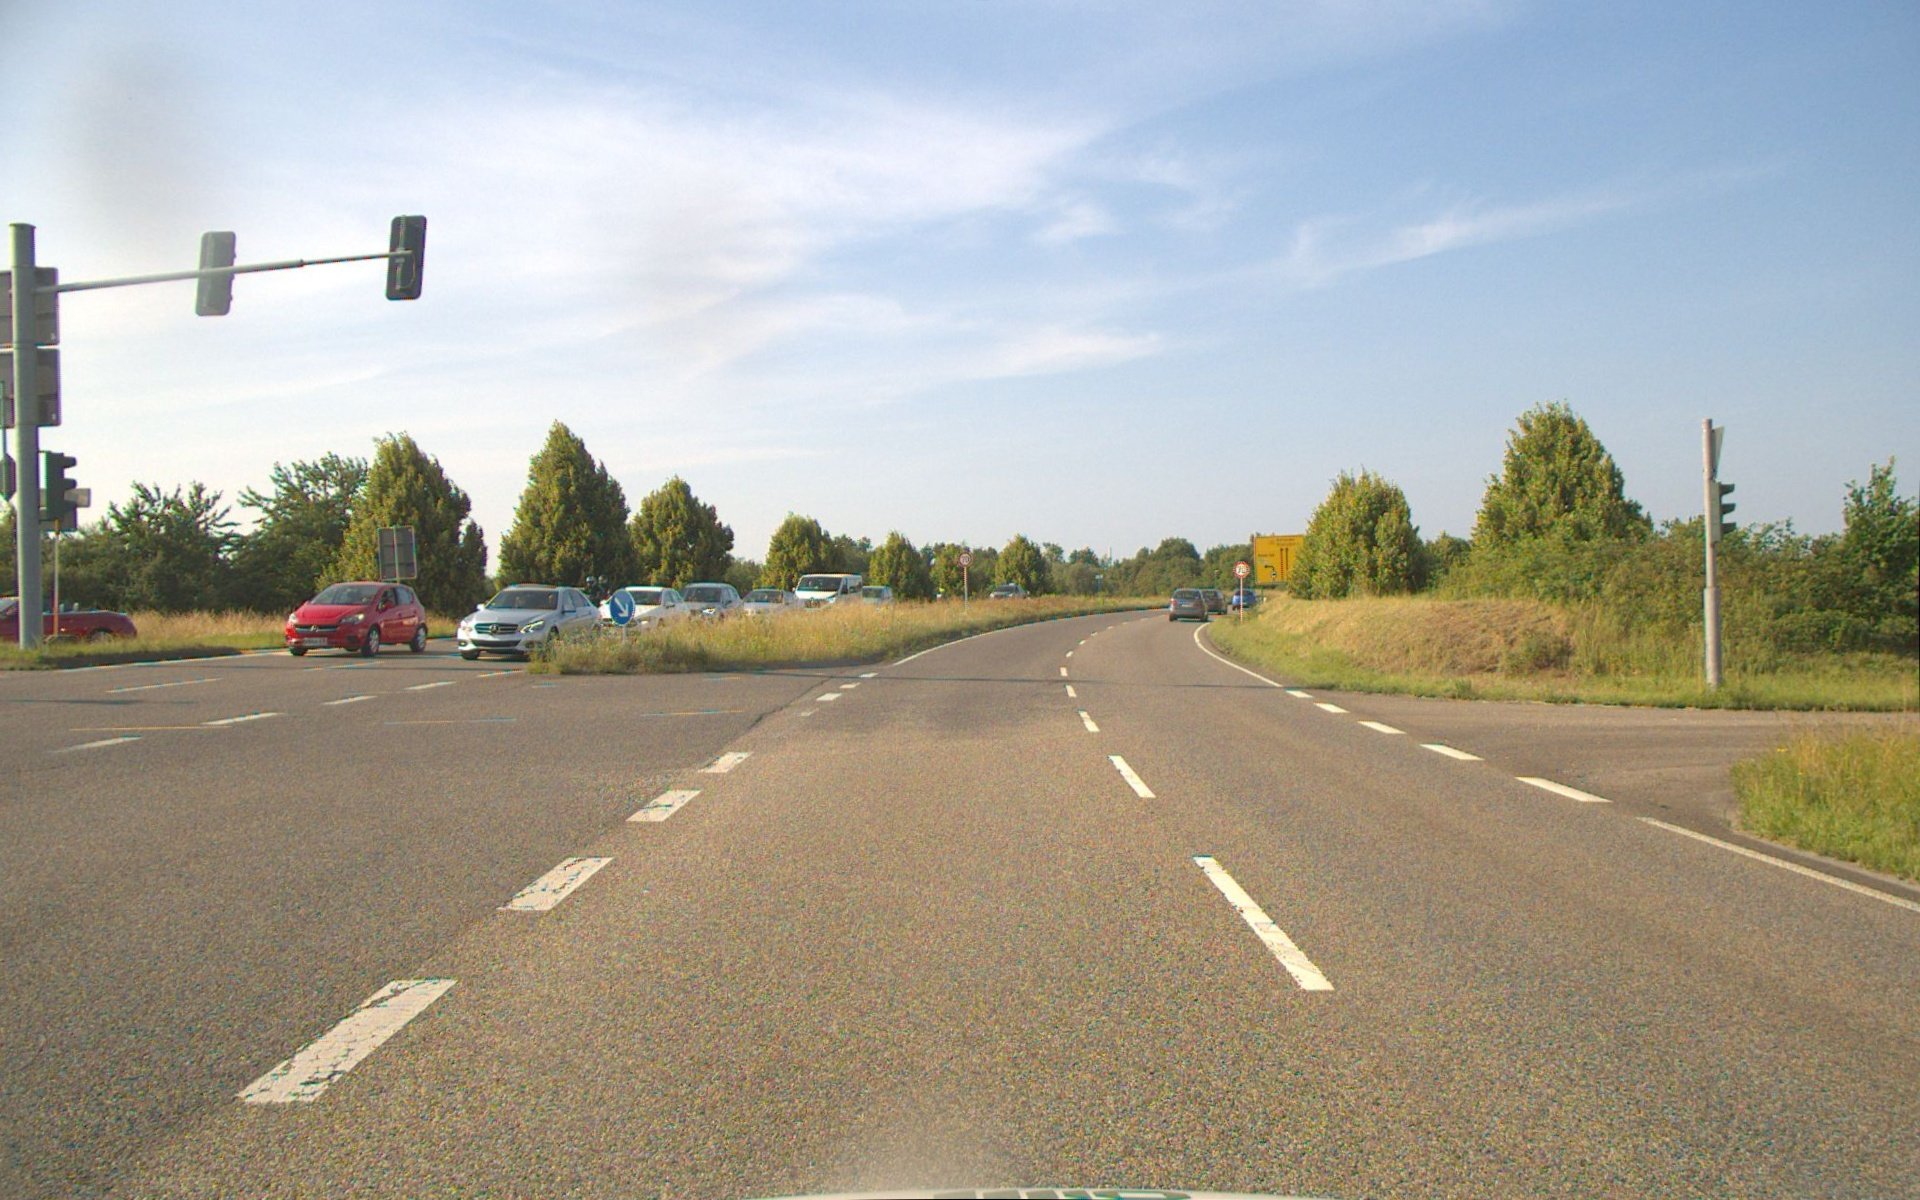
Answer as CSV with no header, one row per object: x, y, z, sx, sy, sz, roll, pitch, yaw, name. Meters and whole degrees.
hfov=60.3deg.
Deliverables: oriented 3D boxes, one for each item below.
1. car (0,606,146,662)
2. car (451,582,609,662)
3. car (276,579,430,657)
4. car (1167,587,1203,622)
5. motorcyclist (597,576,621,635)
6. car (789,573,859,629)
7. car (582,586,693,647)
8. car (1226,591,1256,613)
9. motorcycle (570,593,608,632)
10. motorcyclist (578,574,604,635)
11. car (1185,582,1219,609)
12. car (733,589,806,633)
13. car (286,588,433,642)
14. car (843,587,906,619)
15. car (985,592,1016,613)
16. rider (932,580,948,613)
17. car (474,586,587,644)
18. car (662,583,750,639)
-19.830,0.700,34.874,1.957,1.121,4.466,0,0,32,car
-8.670,0.415,33.785,1.748,1.514,4.653,-1,0,4,car
-12.436,0.342,34.148,1.685,1.514,3.805,-1,0,1,car
11.164,0.239,82.175,1.746,1.633,4.199,0,-1,8,car
-11.033,0.163,51.967,0.649,1.849,0.605,0,0,-4,motorcyclist
-5.288,0.046,64.917,1.884,2.114,4.246,-1,0,7,car
-8.185,0.402,42.353,1.748,1.458,4.311,-1,0,4,car
20.106,0.135,118.103,1.735,1.518,3.988,0,0,15,car
-10.990,0.366,49.054,0.855,1.116,1.468,0,0,-3,motorcycle
-10.937,0.134,49.014,0.649,1.778,0.605,0,0,-4,motorcyclist
14.860,-0.268,101.231,1.771,1.593,4.535,0,0,12,car
-6.355,0.362,55.591,1.748,1.410,4.053,-1,0,4,car
-15.694,0.366,43.440,1.623,1.350,4.217,0,0,13,car
-3.768,0.122,73.457,1.748,1.410,4.055,-1,0,13,car
2.894,0.174,118.179,1.375,1.426,3.424,-1,0,16,car
-1.258,-0.218,104.974,0.849,2.049,0.772,0,0,15,rider
-11.474,0.384,44.479,1.748,1.458,4.053,-1,0,4,car
-7.527,0.310,49.272,1.748,1.596,4.053,-1,0,4,car
